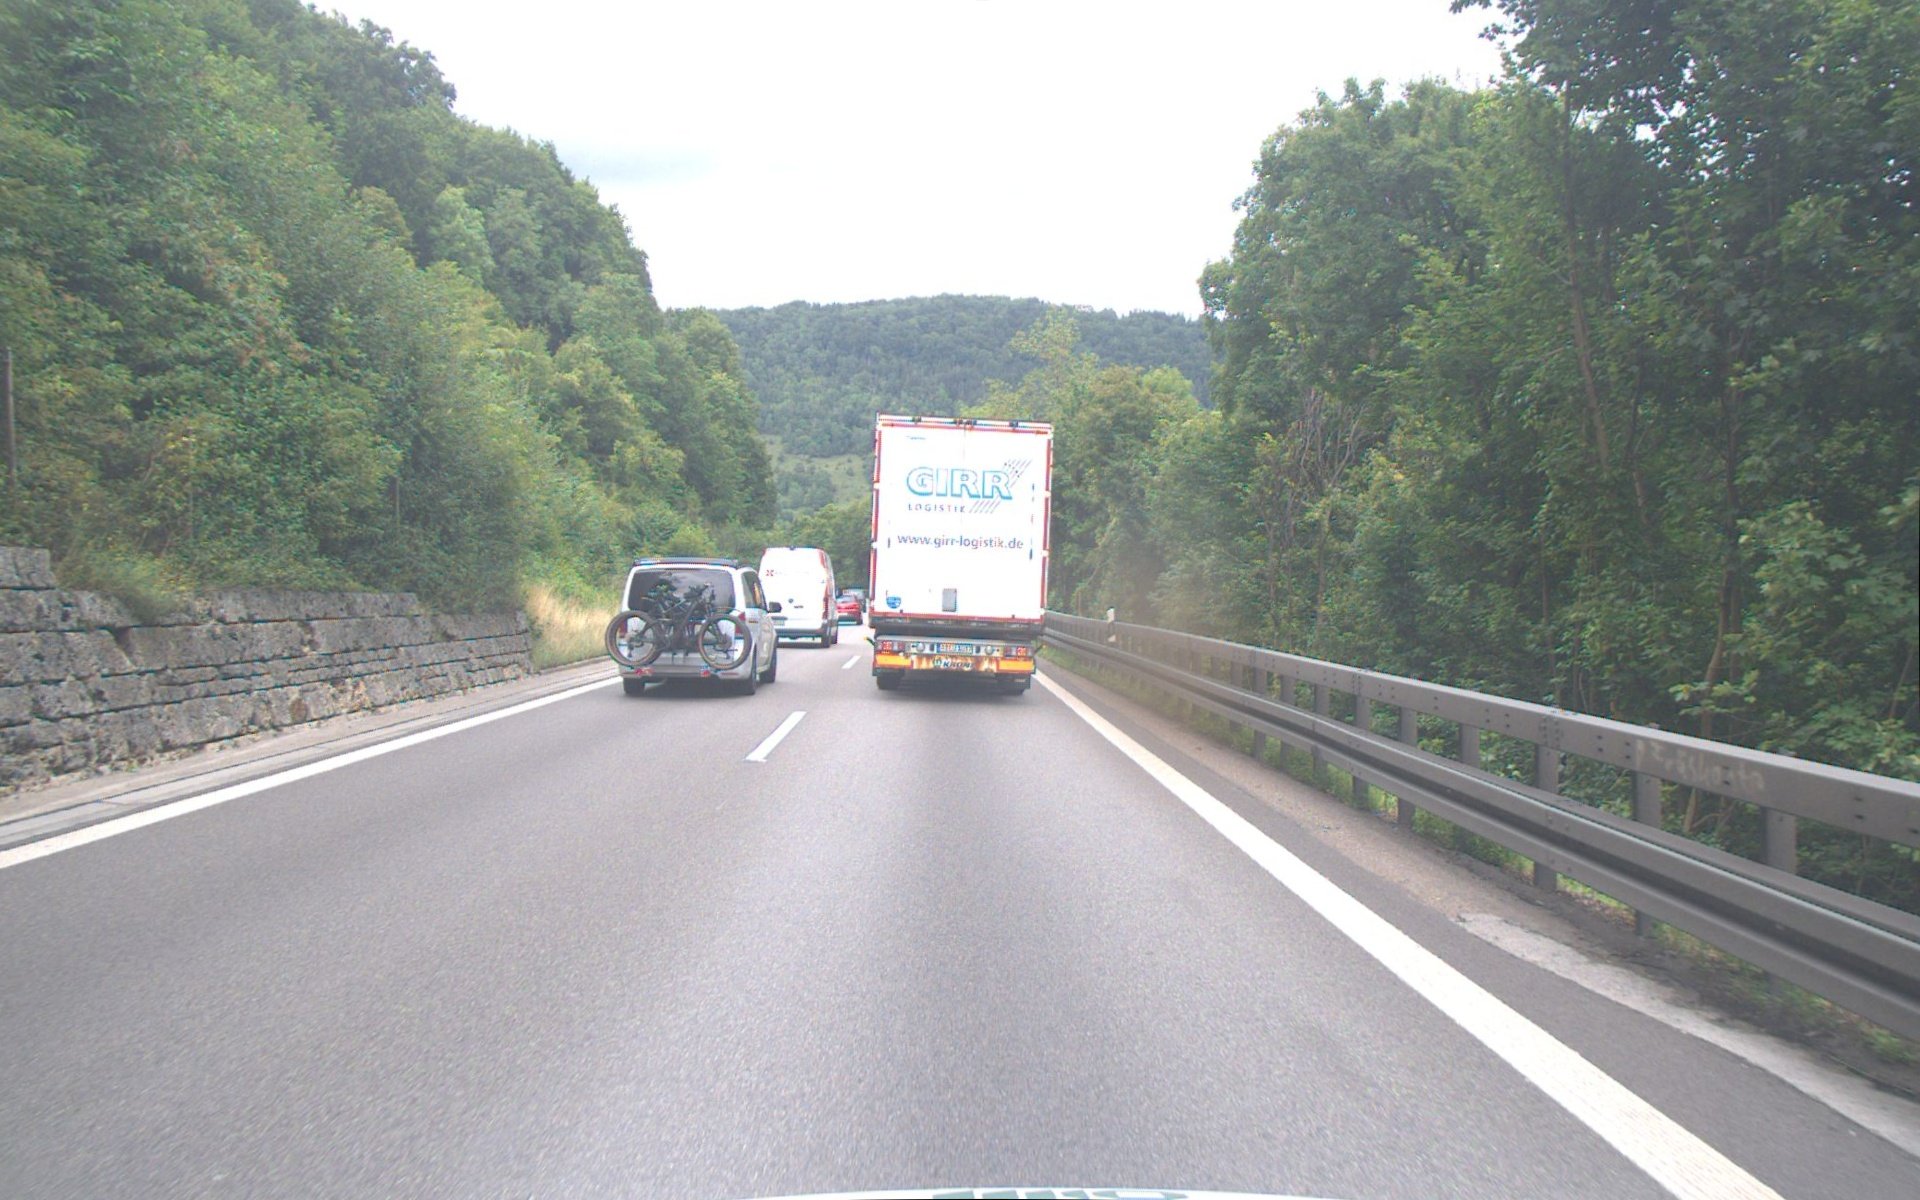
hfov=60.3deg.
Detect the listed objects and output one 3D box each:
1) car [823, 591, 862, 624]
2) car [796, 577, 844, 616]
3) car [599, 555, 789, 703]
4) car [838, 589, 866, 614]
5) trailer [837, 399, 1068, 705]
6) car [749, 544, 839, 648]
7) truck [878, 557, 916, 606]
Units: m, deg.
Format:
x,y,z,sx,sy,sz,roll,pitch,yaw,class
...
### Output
x,y,z,sx,sy,sz,roll,pitch,yaw,class
-5.465,0.344,77.156,1.649,1.478,3.764,0,0,-1,car
-5.713,-0.146,67.817,1.649,1.540,3.764,1,0,-1,car
-3.814,0.366,24.700,1.977,1.948,5.562,1,0,-1,car
-7.685,0.098,117.766,1.799,1.719,4.416,-1,0,-2,car
-0.151,-0.692,27.522,3.069,4.113,9.438,2,0,-1,trailer
-4.476,-0.129,45.287,2.081,2.644,5.561,0,0,-2,car
-5.219,-1.503,138.335,3.006,3.945,8.456,1,0,-1,truck
